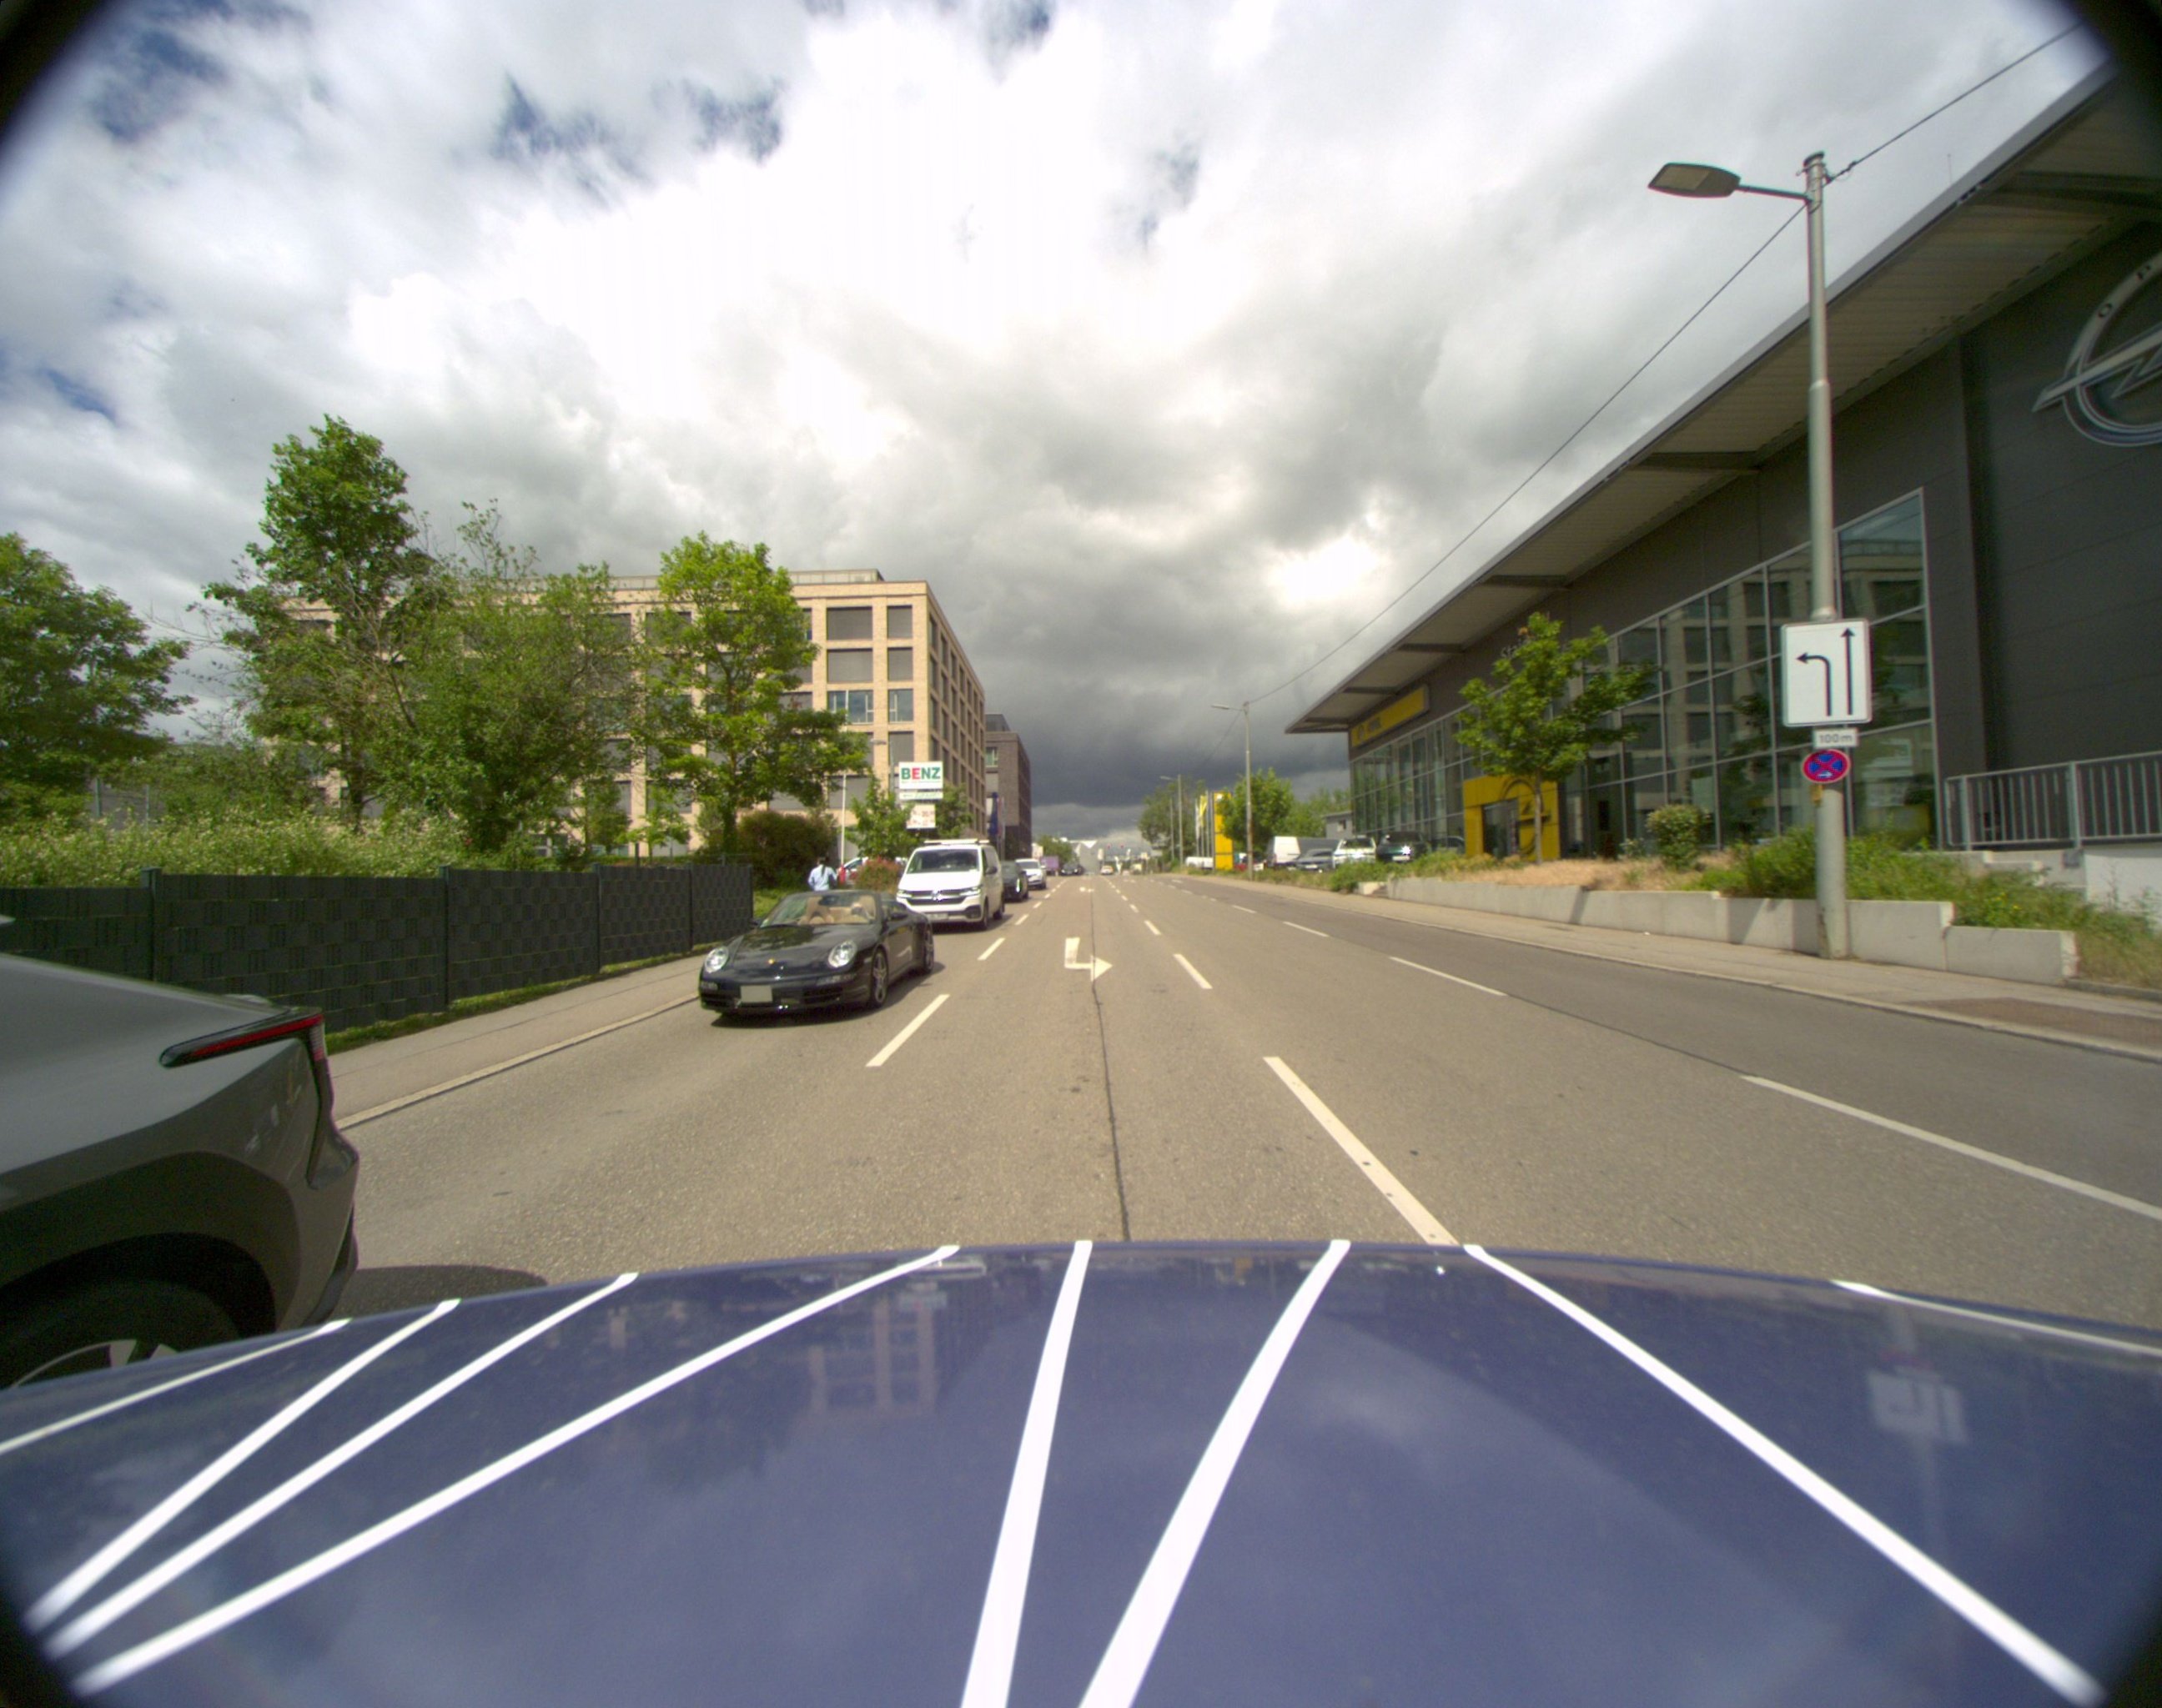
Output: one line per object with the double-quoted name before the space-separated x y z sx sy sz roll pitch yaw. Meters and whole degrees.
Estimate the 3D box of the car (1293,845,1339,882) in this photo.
"car" 12.110 0.464 38.997 1.995 1.783 4.006 -1 0 21

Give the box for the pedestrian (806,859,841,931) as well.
"pedestrian" -6.053 0.951 17.877 0.632 1.648 0.443 -1 1 -1

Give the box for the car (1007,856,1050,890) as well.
"car" -2.589 0.893 38.412 1.818 1.577 4.000 -1 0 1

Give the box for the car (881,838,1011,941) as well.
"car" -2.986 0.721 17.934 2.089 2.037 4.760 -2 0 1

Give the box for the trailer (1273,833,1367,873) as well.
"trailer" 14.455 -0.073 46.157 5.074 2.336 2.000 -1 1 -1

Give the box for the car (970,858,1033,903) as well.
"car" -2.826 0.911 27.871 1.818 1.454 4.000 -1 0 1

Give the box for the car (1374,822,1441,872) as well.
"car" 12.339 -0.256 28.913 1.996 1.718 4.005 -1 0 18

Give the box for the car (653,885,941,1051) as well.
"car" -3.017 1.145 9.087 1.824 1.286 4.038 -2 0 1

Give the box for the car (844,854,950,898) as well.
"car" -7.629 0.908 31.776 3.998 1.723 1.822 -1 1 -3

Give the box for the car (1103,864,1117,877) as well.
"car" 4.492 2.509 117.116 1.998 1.731 4.547 -2 0 1

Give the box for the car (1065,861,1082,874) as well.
"car" -0.804 1.421 82.238 1.662 1.351 4.000 -1 0 1

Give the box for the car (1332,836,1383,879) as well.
"car" 12.171 0.125 33.424 1.995 1.783 4.006 -1 0 21
